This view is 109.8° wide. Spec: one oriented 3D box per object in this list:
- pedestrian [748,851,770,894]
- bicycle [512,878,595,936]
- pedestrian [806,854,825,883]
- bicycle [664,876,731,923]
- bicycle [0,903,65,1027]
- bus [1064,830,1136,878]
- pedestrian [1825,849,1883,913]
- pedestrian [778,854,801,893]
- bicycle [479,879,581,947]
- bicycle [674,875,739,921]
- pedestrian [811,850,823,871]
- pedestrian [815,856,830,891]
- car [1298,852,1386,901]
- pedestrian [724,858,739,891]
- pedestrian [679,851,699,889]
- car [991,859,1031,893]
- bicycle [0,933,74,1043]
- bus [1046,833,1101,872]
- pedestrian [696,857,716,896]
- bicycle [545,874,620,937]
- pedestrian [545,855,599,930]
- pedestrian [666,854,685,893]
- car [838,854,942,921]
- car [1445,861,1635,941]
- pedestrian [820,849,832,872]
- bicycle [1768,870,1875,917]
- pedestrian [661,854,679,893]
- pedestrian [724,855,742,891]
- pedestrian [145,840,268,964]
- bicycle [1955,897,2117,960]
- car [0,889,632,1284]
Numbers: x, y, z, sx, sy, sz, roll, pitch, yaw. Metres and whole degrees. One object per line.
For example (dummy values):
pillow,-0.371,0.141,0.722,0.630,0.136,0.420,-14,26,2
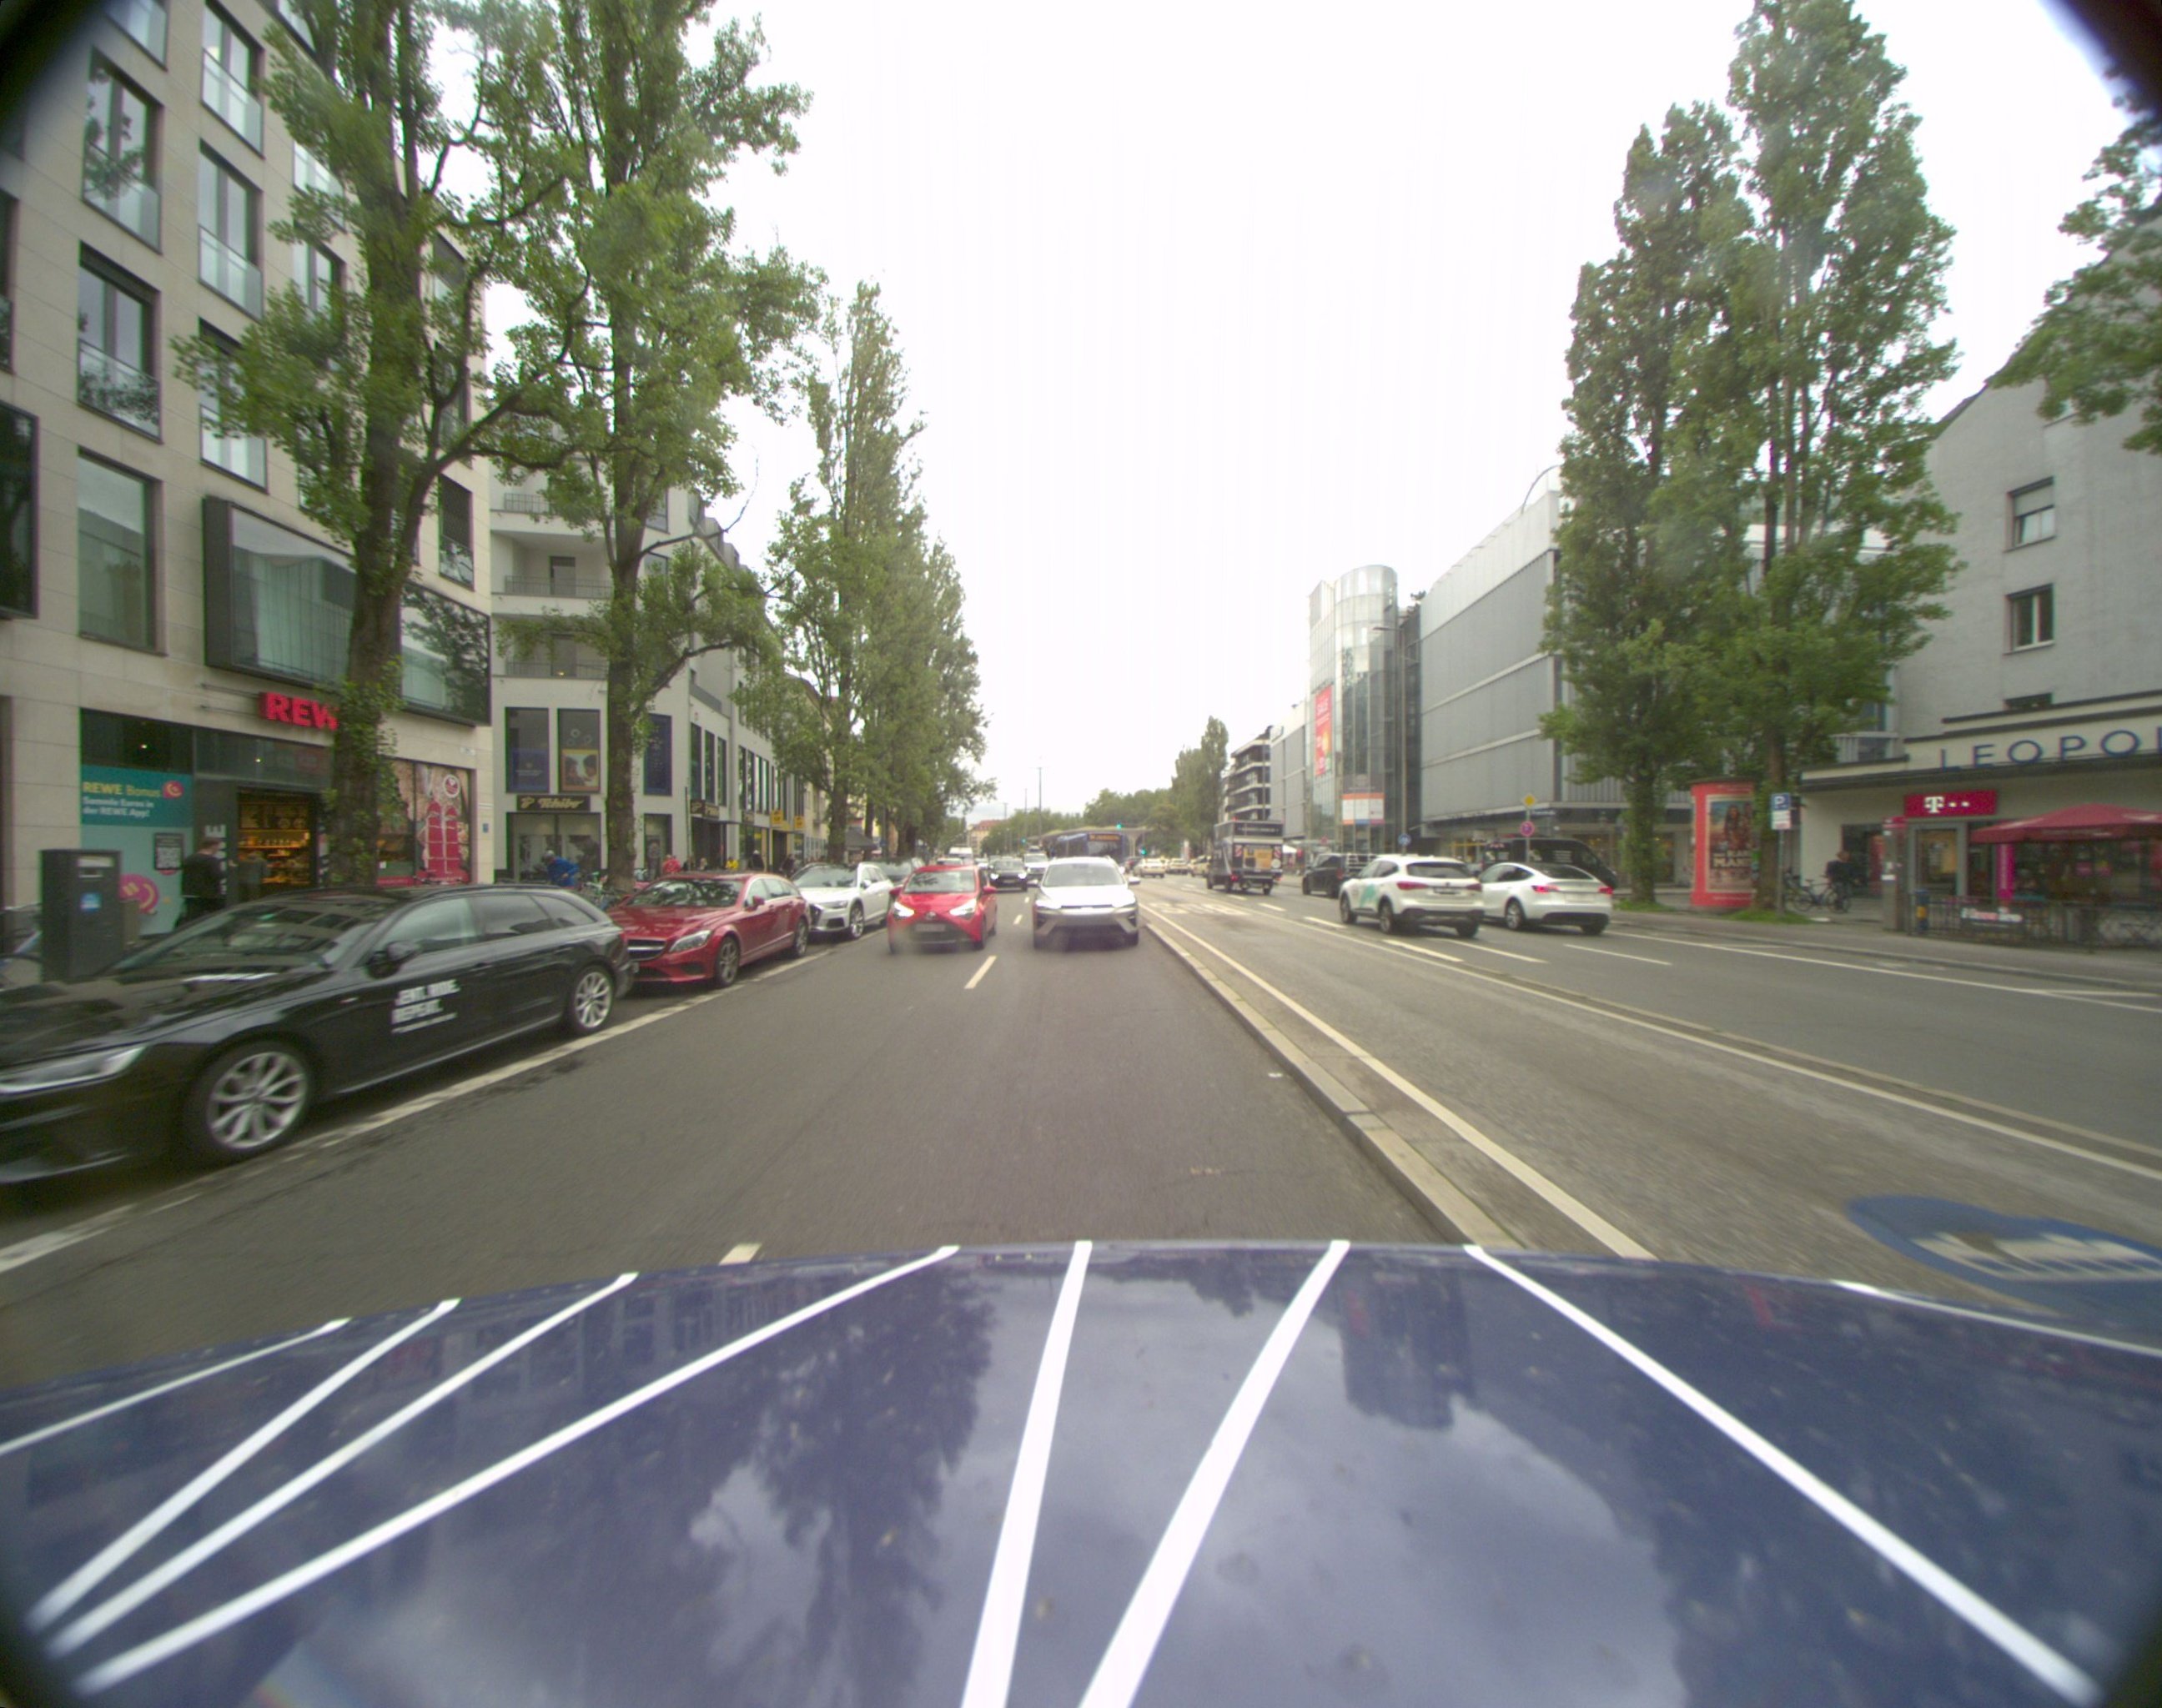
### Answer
pedestrian,-14.439,0.830,34.056,0.648,1.913,0.925,1,0,-5
bicycle,-11.146,1.101,16.048,1.764,1.165,0.452,0,1,17
pedestrian,-14.970,0.804,42.891,0.802,1.627,1.023,0,0,-6
bicycle,-10.071,1.187,19.973,1.483,1.200,0.535,0,0,-5
bicycle,-10.784,1.103,7.065,0.456,1.181,1.715,0,0,-4
bus,1.049,-0.048,52.230,2.944,2.927,11.203,-1,1,-9
pedestrian,23.161,0.806,22.769,0.860,1.887,0.832,1,1,-5
pedestrian,-12.700,0.855,33.095,0.716,1.666,0.783,1,0,-5
bicycle,-10.421,1.081,14.410,0.546,1.182,1.457,1,0,32
bicycle,-10.108,1.180,20.526,1.483,1.200,0.535,0,0,-5
pedestrian,-19.444,0.471,55.919,0.693,1.576,0.772,0,0,-10
pedestrian,-12.703,0.942,37.385,0.671,1.715,0.768,0,1,-17
car,11.044,0.892,32.671,1.998,1.852,5.712,2,0,3
pedestrian,-16.634,0.982,36.206,0.566,1.567,0.675,0,1,-32
pedestrian,-17.047,0.704,33.016,0.547,1.615,0.508,-1,2,32
car,-3.394,1.001,36.250,1.741,1.461,4.047,-1,0,-8
bicycle,-9.996,1.228,6.437,0.434,0.935,1.764,1,0,9
bus,-0.823,-0.156,64.099,2.944,2.927,11.203,-1,1,-9
pedestrian,-15.329,0.913,31.077,0.491,1.558,0.570,0,1,10
bicycle,-9.315,0.935,14.274,0.644,1.057,1.769,0,0,-14
pedestrian,-11.128,0.824,16.617,0.792,1.610,0.613,1,0,17
pedestrian,-17.179,0.821,32.170,0.549,1.615,0.506,-2,1,-14
car,-5.575,0.908,22.799,1.930,1.690,4.649,-2,1,-1
car,10.958,1.036,18.629,1.998,1.641,4.637,1,0,3
pedestrian,-18.562,0.455,55.397,0.693,1.639,0.797,0,0,-10
bicycle,22.272,1.151,22.931,0.849,1.300,2.302,1,0,-4
pedestrian,-17.629,0.835,32.617,0.550,1.615,0.506,-3,2,-39
pedestrian,-15.835,0.876,34.578,0.491,1.625,0.570,0,1,10
pedestrian,-13.592,0.717,11.841,0.819,1.858,0.938,1,0,0
bicycle,17.130,1.305,13.705,0.460,0.958,1.880,0,0,-4
car,-5.372,1.066,5.288,1.851,1.420,4.425,0,0,0
